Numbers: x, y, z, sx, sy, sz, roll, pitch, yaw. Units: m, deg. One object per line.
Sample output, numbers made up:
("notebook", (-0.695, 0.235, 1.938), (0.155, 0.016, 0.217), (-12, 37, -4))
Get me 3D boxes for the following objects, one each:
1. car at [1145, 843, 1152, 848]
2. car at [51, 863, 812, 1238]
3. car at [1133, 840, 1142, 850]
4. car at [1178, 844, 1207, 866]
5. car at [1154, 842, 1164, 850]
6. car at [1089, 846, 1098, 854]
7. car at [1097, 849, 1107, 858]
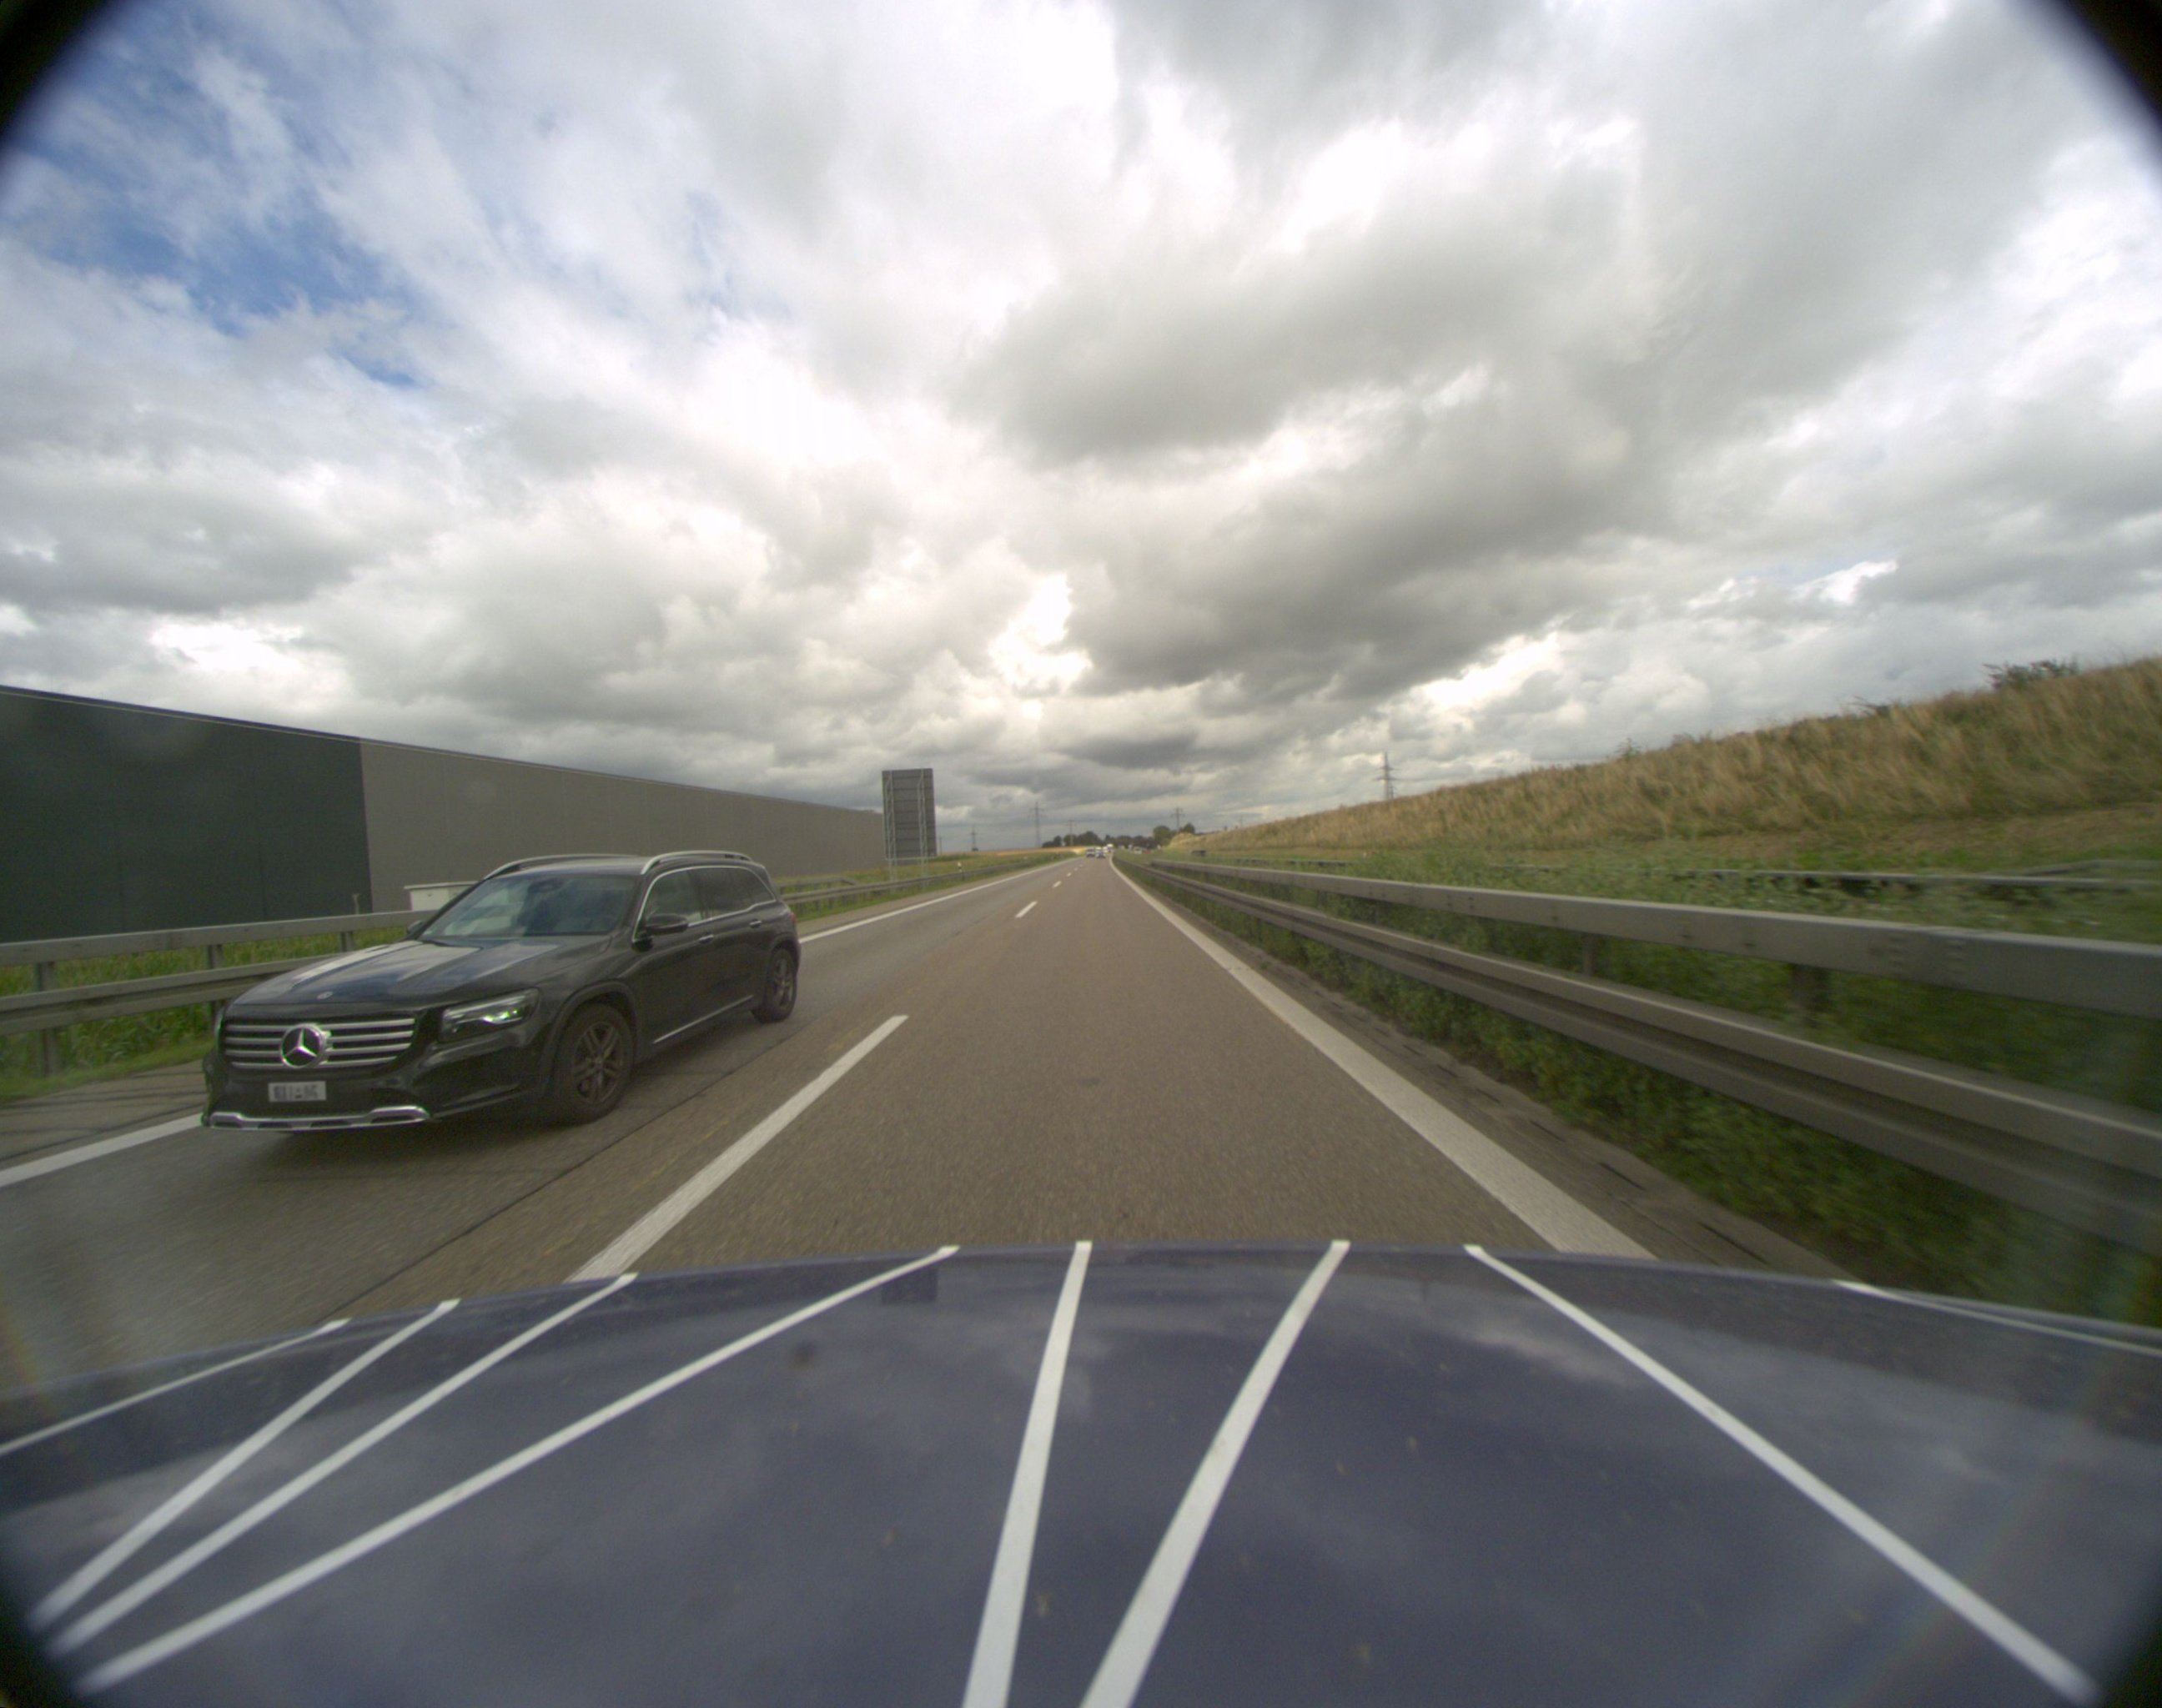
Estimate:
("car", (19.261, -2.360, 217.023), (1.728, 1.395, 4.342), (-3, 1, 2))
("car", (-3.829, 0.963, 5.752), (1.838, 1.600, 4.360), (-2, 1, 2))
("car", (13.689, -2.144, 184.312), (1.998, 2.335, 5.870), (-3, 1, 1))
("car", (8.796, 0.062, 60.250), (1.741, 1.581, 3.999), (-3, 1, 1))
("car", (15.813, -1.617, 154.382), (1.776, 1.445, 4.000), (-3, 1, 2))
("car", (3.022, -0.930, 189.478), (1.998, 1.812, 4.343), (-2, 1, 4))
("car", (4.439, -0.161, 161.367), (1.998, 1.696, 4.663), (-4, 0, 3))
